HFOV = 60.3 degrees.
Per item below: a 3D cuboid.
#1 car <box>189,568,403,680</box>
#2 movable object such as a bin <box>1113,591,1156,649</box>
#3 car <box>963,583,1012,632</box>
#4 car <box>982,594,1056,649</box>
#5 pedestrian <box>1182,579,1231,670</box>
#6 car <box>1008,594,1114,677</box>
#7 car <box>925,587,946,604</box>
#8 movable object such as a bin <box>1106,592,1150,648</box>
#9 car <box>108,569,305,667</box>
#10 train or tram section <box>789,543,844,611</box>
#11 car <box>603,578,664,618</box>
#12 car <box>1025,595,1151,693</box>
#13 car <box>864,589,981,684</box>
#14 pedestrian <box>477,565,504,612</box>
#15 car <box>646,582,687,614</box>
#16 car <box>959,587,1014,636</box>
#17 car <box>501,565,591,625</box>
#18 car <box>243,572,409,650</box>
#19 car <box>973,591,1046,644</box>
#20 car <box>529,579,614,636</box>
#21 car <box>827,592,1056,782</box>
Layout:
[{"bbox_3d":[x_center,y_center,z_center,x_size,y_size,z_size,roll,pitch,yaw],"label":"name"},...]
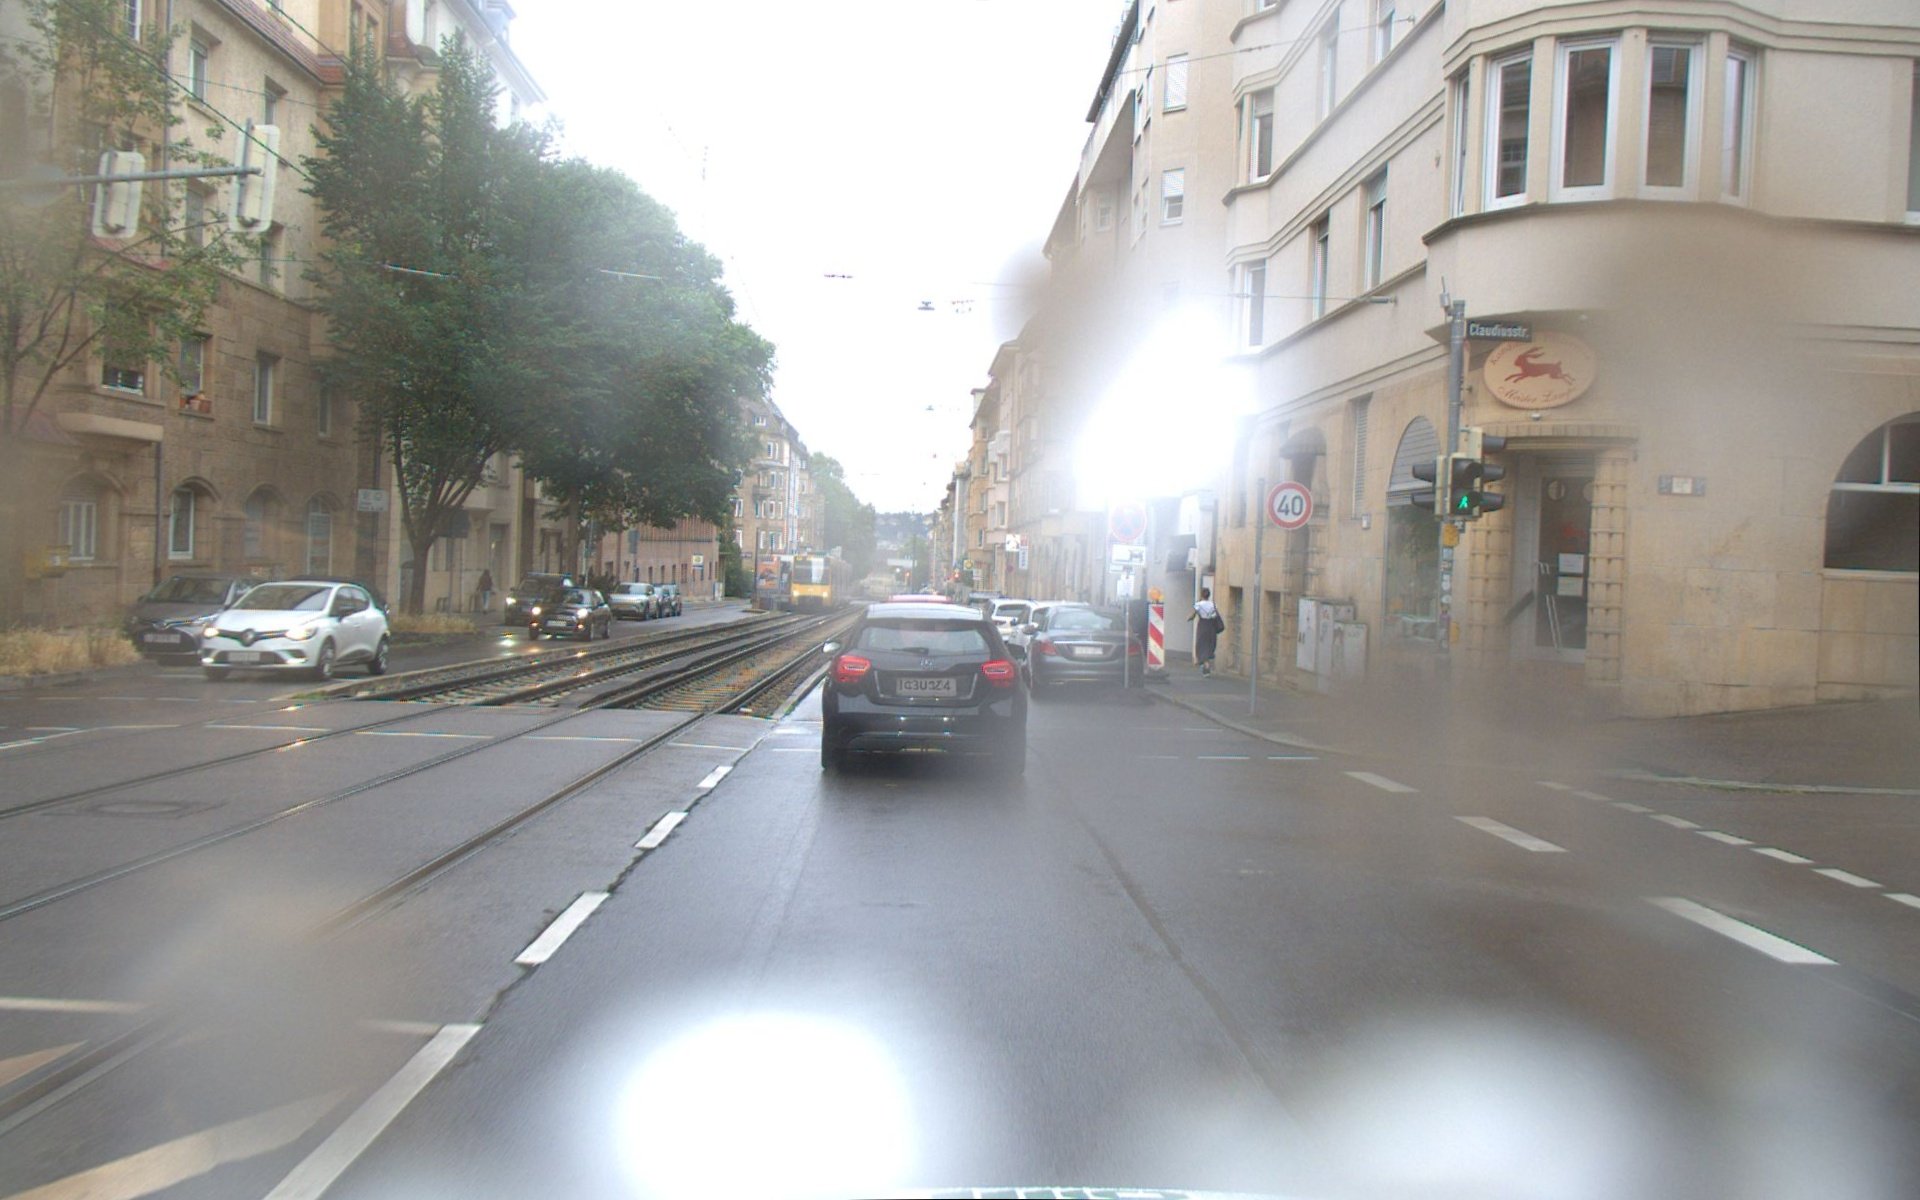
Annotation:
[{"bbox_3d":[-9.920,0.344,25.030,1.745,1.529,4.060,1,0,-3],"label":"car"},{"bbox_3d":[4.574,0.529,43.407,0.960,1.494,1.272,1,-1,-2],"label":"movable object such as a bin"},{"bbox_3d":[1.026,0.297,64.176,1.742,1.780,4.547,1,0,-1],"label":"car"},{"bbox_3d":[1.580,0.569,45.537,1.753,1.410,4.393,1,0,-2],"label":"car"},{"bbox_3d":[4.742,0.467,31.790,0.788,1.717,0.754,1,-1,-2],"label":"pedestrian"},{"bbox_3d":[1.915,0.664,32.483,1.677,1.493,4.772,1,0,-1],"label":"car"},{"bbox_3d":[-2.308,-0.404,156.943,1.848,1.552,4.245,2,0,0],"label":"car"},{"bbox_3d":[4.558,0.540,44.904,0.997,1.494,1.322,1,-1,-2],"label":"movable object such as a bin"},{"bbox_3d":[-12.950,0.308,28.708,1.656,1.556,4.173,1,0,-3],"label":"car"},{"bbox_3d":[-9.357,-1.477,109.367,2.690,4.132,17.207,1,0,-2],"label":"train or tram section"},{"bbox_3d":[-14.258,-0.102,72.455,1.922,1.633,4.327,2,1,-3],"label":"car"},{"bbox_3d":[2.008,0.670,27.118,1.675,1.435,4.817,1,0,0],"label":"car"},{"bbox_3d":[-0.690,0.628,30.423,1.953,1.552,4.244,2,0,-1],"label":"car"},{"bbox_3d":[-17.172,-0.412,60.497,0.713,1.692,0.770,2,0,-2],"label":"pedestrian"},{"bbox_3d":[-14.417,-0.135,81.414,1.541,1.492,3.043,2,0,-3],"label":"car"},{"bbox_3d":[0.923,0.412,58.047,1.803,1.636,4.760,1,0,1],"label":"car"},{"bbox_3d":[-13.778,-0.186,55.338,1.914,1.772,4.776,4,0,-3],"label":"car"},{"bbox_3d":[-13.062,0.228,34.402,1.745,1.485,4.975,1,0,-3],"label":"car"},{"bbox_3d":[1.457,0.526,50.204,1.796,1.493,4.372,1,0,-4],"label":"car"},{"bbox_3d":[-10.602,0.178,45.340,1.620,1.488,3.732,0,0,-3],"label":"car"},{"bbox_3d":[-0.189,0.696,15.165,1.797,1.478,3.900,1,0,-1],"label":"car"}]
